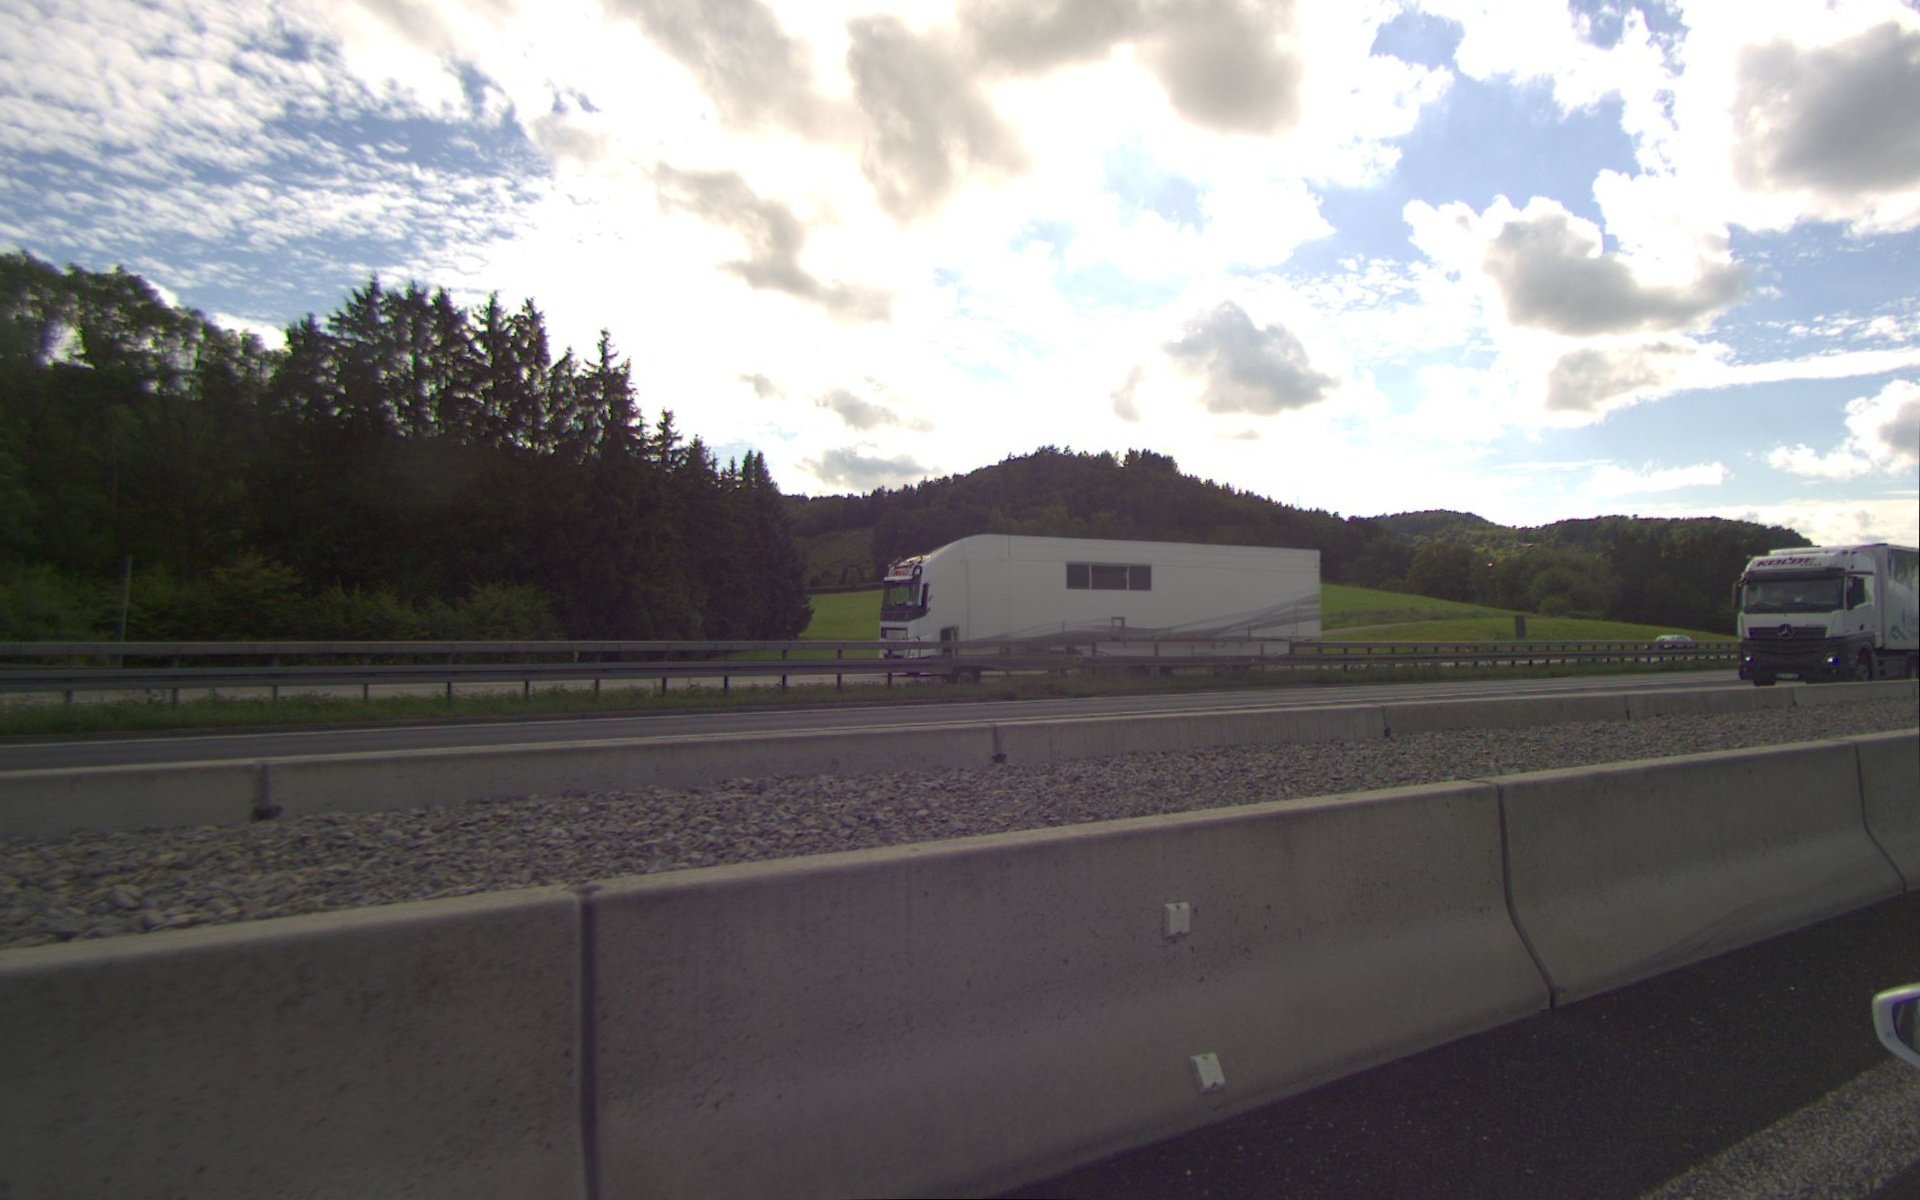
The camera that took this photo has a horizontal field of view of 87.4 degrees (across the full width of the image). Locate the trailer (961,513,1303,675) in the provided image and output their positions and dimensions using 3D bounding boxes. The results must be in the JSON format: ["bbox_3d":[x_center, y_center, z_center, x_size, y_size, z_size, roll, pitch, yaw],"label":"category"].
[{"bbox_3d":[6.961,0.041,37.812,14.563,5.228,3.090,2,-2,-34],"label":"trailer"}]

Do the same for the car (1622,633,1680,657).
[{"bbox_3d":[49.366,3.220,71.697,4.252,1.639,1.793,2,-2,-30],"label":"car"}]

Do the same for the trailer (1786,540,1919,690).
[{"bbox_3d":[30.961,0.617,32.266,13.128,4.183,2.476,2,-2,-31],"label":"trailer"}]

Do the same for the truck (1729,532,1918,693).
[{"bbox_3d":[24.535,0.425,28.518,5.237,4.183,2.477,2,-2,-30],"label":"truck"}]

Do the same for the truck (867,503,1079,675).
[{"bbox_3d":[0.509,-0.215,33.540,6.561,5.209,3.007,2,-2,-34],"label":"truck"}]
